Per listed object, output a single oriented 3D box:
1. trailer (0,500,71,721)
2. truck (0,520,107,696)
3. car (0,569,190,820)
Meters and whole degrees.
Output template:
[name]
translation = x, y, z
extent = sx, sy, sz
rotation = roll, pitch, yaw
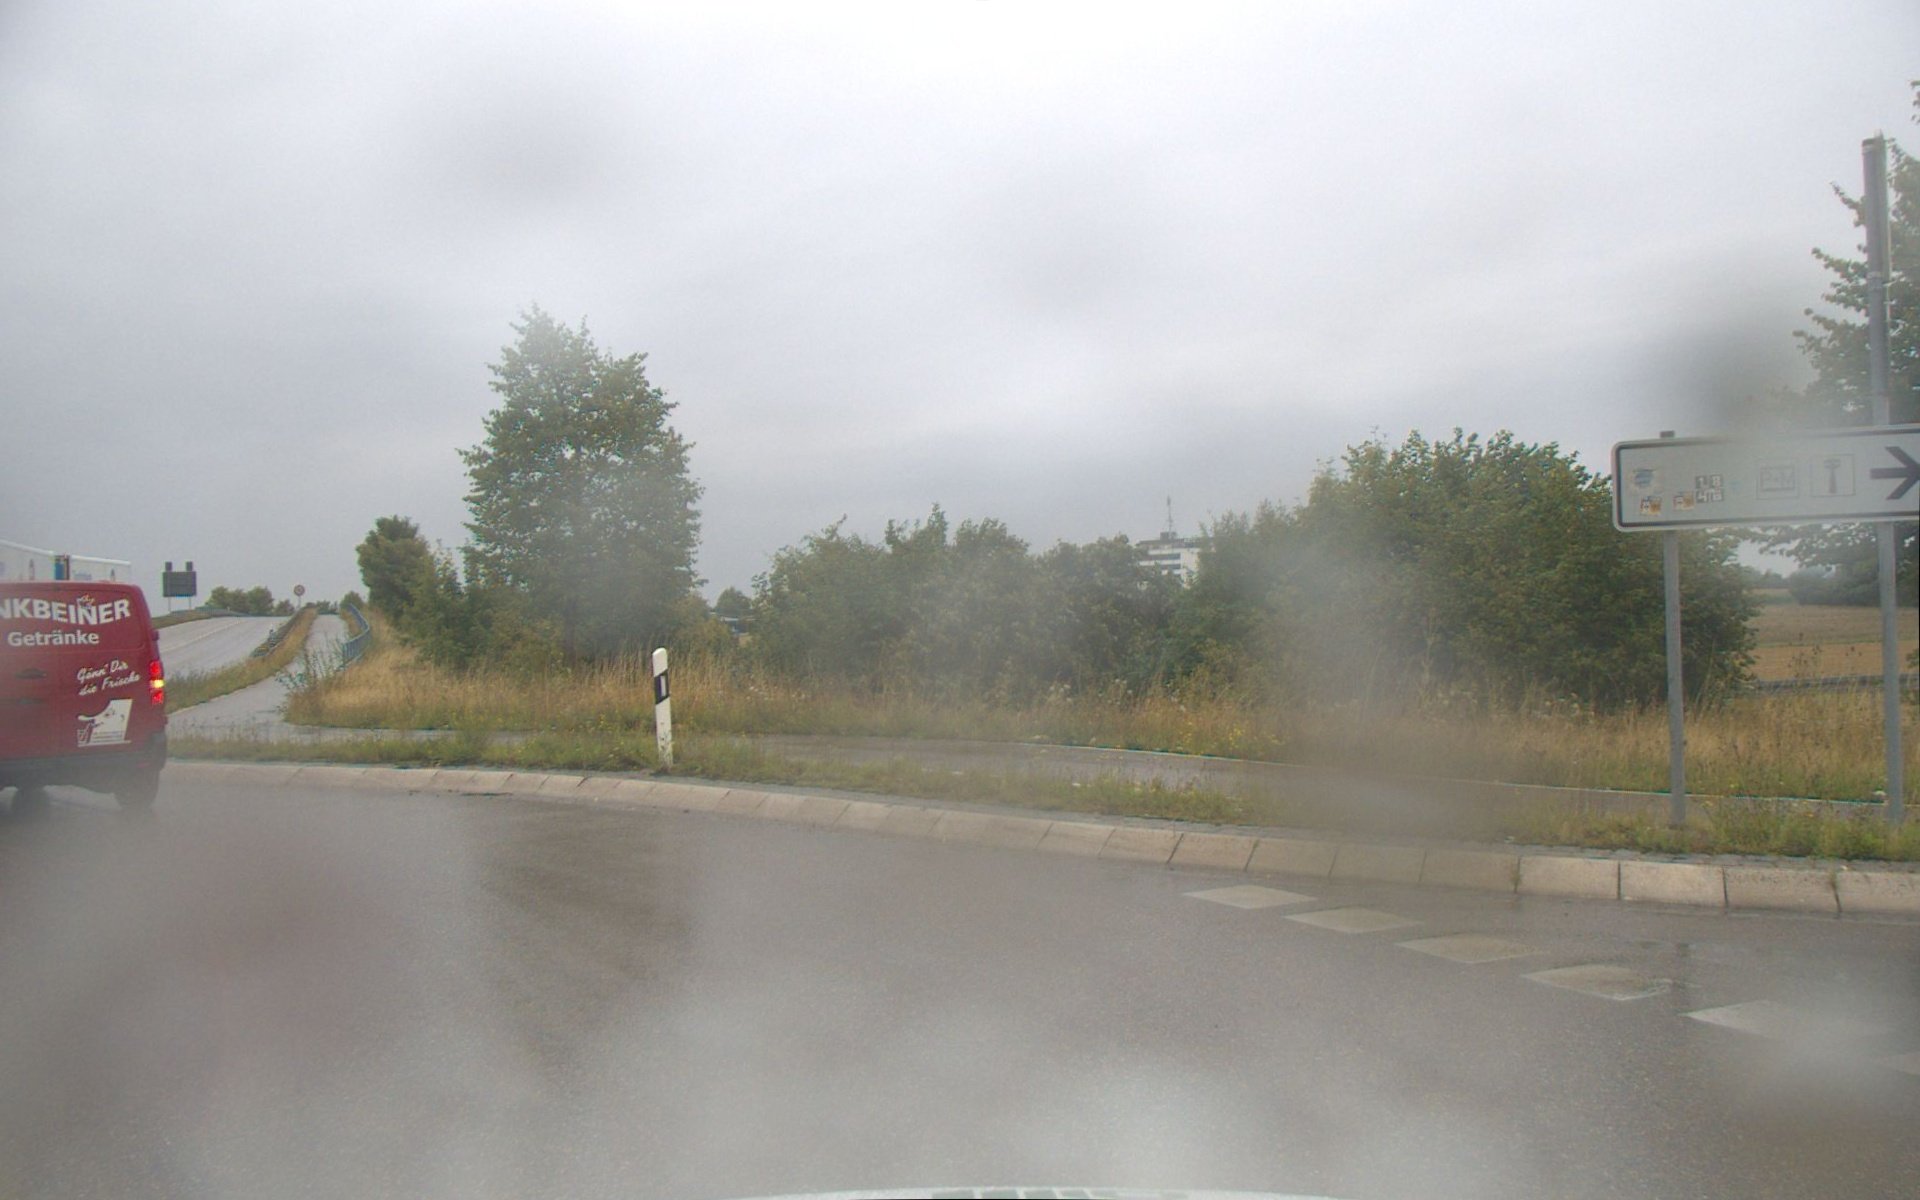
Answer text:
[trailer]
translation = -19.654, 0.236, 32.316
extent = 2.793, 3.885, 9.650
rotation = -2, 0, -22
[truck]
translation = -22.824, 0.210, 40.364
extent = 2.761, 3.885, 7.637
rotation = -2, 0, -22
[car]
translation = -8.804, 0.765, 14.810
extent = 1.985, 1.903, 4.899
rotation = -3, 1, -43
